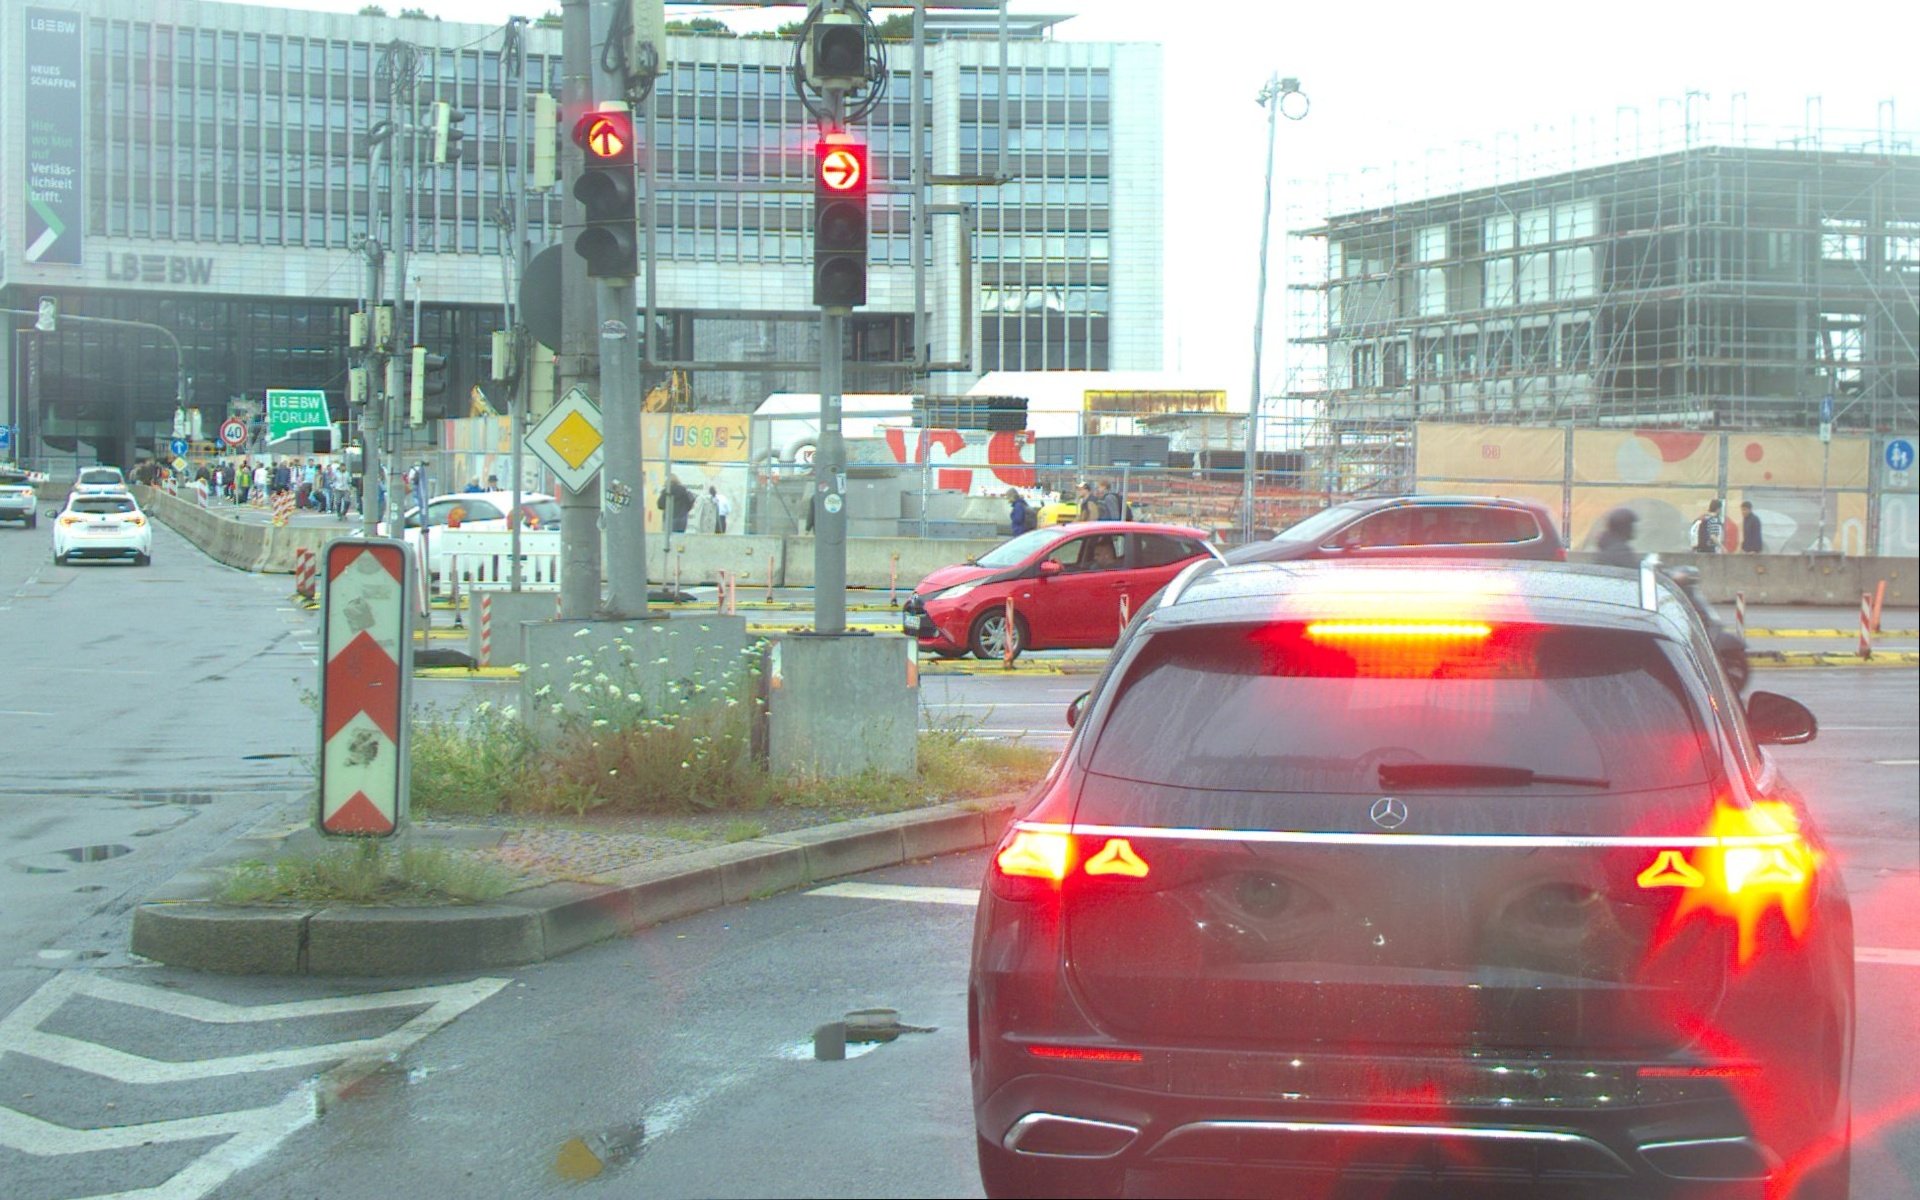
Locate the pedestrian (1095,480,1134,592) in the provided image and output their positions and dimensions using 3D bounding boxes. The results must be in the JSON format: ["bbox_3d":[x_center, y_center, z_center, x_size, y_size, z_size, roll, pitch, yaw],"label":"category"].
[{"bbox_3d":[2.644,-1.090,58.687,0.574,1.891,0.362,1,0,-7],"label":"pedestrian"}]

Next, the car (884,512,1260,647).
[{"bbox_3d":[1.149,-0.207,35.801,3.532,1.300,1.666,1,0,-18],"label":"car"}]

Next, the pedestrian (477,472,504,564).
[{"bbox_3d":[-9.749,-1.705,71.405,0.361,1.891,0.576,1,0,-25],"label":"pedestrian"}]

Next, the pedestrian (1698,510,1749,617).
[{"bbox_3d":[13.799,-0.658,62.160,0.655,1.895,0.632,1,0,-13],"label":"pedestrian"}]

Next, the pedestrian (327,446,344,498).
[{"bbox_3d":[-22.787,-4.666,125.505,0.519,1.891,0.576,1,0,-17],"label":"pedestrian"}]

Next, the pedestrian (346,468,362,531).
[{"bbox_3d":[-18.310,-3.036,103.889,0.361,1.891,0.576,1,0,-17],"label":"pedestrian"}]

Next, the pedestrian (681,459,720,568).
[{"bbox_3d":[-4.538,-1.508,60.127,0.361,1.891,0.576,1,0,-44],"label":"pedestrian"}]

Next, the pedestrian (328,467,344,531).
[{"bbox_3d":[-18.834,-3.045,103.730,0.361,1.891,0.576,1,0,-17],"label":"pedestrian"}]

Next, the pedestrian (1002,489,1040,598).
[{"bbox_3d":[1.070,-0.983,60.213,0.575,1.891,0.362,1,0,14],"label":"pedestrian"}]

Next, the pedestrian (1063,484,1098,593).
[{"bbox_3d":[2.113,-1.080,60.135,0.574,1.891,0.362,1,0,3],"label":"pedestrian"}]

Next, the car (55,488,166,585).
[{"bbox_3d":[-16.383,-1.202,66.426,1.993,1.760,4.420,1,0,-13],"label":"car"}]

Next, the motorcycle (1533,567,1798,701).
[{"bbox_3d":[6.117,0.292,29.886,2.136,1.104,0.851,1,0,4],"label":"motorcycle"}]

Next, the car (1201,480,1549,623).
[{"bbox_3d":[5.365,-0.612,44.573,3.985,1.728,2.001,1,0,-15],"label":"car"}]

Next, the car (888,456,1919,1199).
[{"bbox_3d":[1.014,0.519,8.357,1.891,1.539,3.992,1,0,6],"label":"car"}]

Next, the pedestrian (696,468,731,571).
[{"bbox_3d":[-4.524,-1.473,63.142,0.361,1.891,0.576,0,0,-43],"label":"pedestrian"}]

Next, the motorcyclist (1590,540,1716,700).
[{"bbox_3d":[6.038,0.171,30.005,0.945,1.353,0.849,1,0,4],"label":"motorcyclist"}]

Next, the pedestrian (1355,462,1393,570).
[{"bbox_3d":[7.302,-1.477,60.619,0.574,1.891,0.362,1,0,-4],"label":"pedestrian"}]

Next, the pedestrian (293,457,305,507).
[{"bbox_3d":[-25.569,-4.559,132.960,0.361,1.891,0.576,1,0,-17],"label":"pedestrian"}]

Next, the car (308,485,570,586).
[{"bbox_3d":[-8.005,-0.992,52.878,3.551,1.468,1.784,1,0,20],"label":"car"}]

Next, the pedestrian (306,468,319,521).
[{"bbox_3d":[-23.050,-3.751,122.329,0.361,1.891,0.576,1,0,-17],"label":"pedestrian"}]

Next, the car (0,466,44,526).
[{"bbox_3d":[-27.550,-2.966,98.266,1.993,1.634,4.001,1,0,-24],"label":"car"}]

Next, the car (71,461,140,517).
[{"bbox_3d":[-28.003,-3.648,112.629,1.727,1.634,3.436,1,3,-22],"label":"car"}]

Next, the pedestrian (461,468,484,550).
[{"bbox_3d":[-11.306,-2.106,79.761,0.361,1.891,0.576,1,0,-21],"label":"pedestrian"}]

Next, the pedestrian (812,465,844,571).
[{"bbox_3d":[-2.378,-1.466,61.912,0.361,1.891,0.576,1,0,-21],"label":"pedestrian"}]

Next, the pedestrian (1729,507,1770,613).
[{"bbox_3d":[14.137,-0.716,61.578,0.574,1.891,0.362,1,0,-10],"label":"pedestrian"}]

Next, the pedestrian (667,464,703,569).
[{"bbox_3d":[-5.023,-1.520,62.801,0.361,1.891,0.576,1,0,-38],"label":"pedestrian"}]

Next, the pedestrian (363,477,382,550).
[{"bbox_3d":[-15.421,-2.275,90.227,0.361,1.891,0.576,1,0,-17],"label":"pedestrian"}]

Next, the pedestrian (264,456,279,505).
[{"bbox_3d":[-27.241,-4.733,136.012,0.519,1.891,0.576,1,0,-17],"label":"pedestrian"}]

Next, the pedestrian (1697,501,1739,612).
[{"bbox_3d":[13.047,-0.744,59.213,0.574,1.891,0.362,1,0,-10],"label":"pedestrian"}]
